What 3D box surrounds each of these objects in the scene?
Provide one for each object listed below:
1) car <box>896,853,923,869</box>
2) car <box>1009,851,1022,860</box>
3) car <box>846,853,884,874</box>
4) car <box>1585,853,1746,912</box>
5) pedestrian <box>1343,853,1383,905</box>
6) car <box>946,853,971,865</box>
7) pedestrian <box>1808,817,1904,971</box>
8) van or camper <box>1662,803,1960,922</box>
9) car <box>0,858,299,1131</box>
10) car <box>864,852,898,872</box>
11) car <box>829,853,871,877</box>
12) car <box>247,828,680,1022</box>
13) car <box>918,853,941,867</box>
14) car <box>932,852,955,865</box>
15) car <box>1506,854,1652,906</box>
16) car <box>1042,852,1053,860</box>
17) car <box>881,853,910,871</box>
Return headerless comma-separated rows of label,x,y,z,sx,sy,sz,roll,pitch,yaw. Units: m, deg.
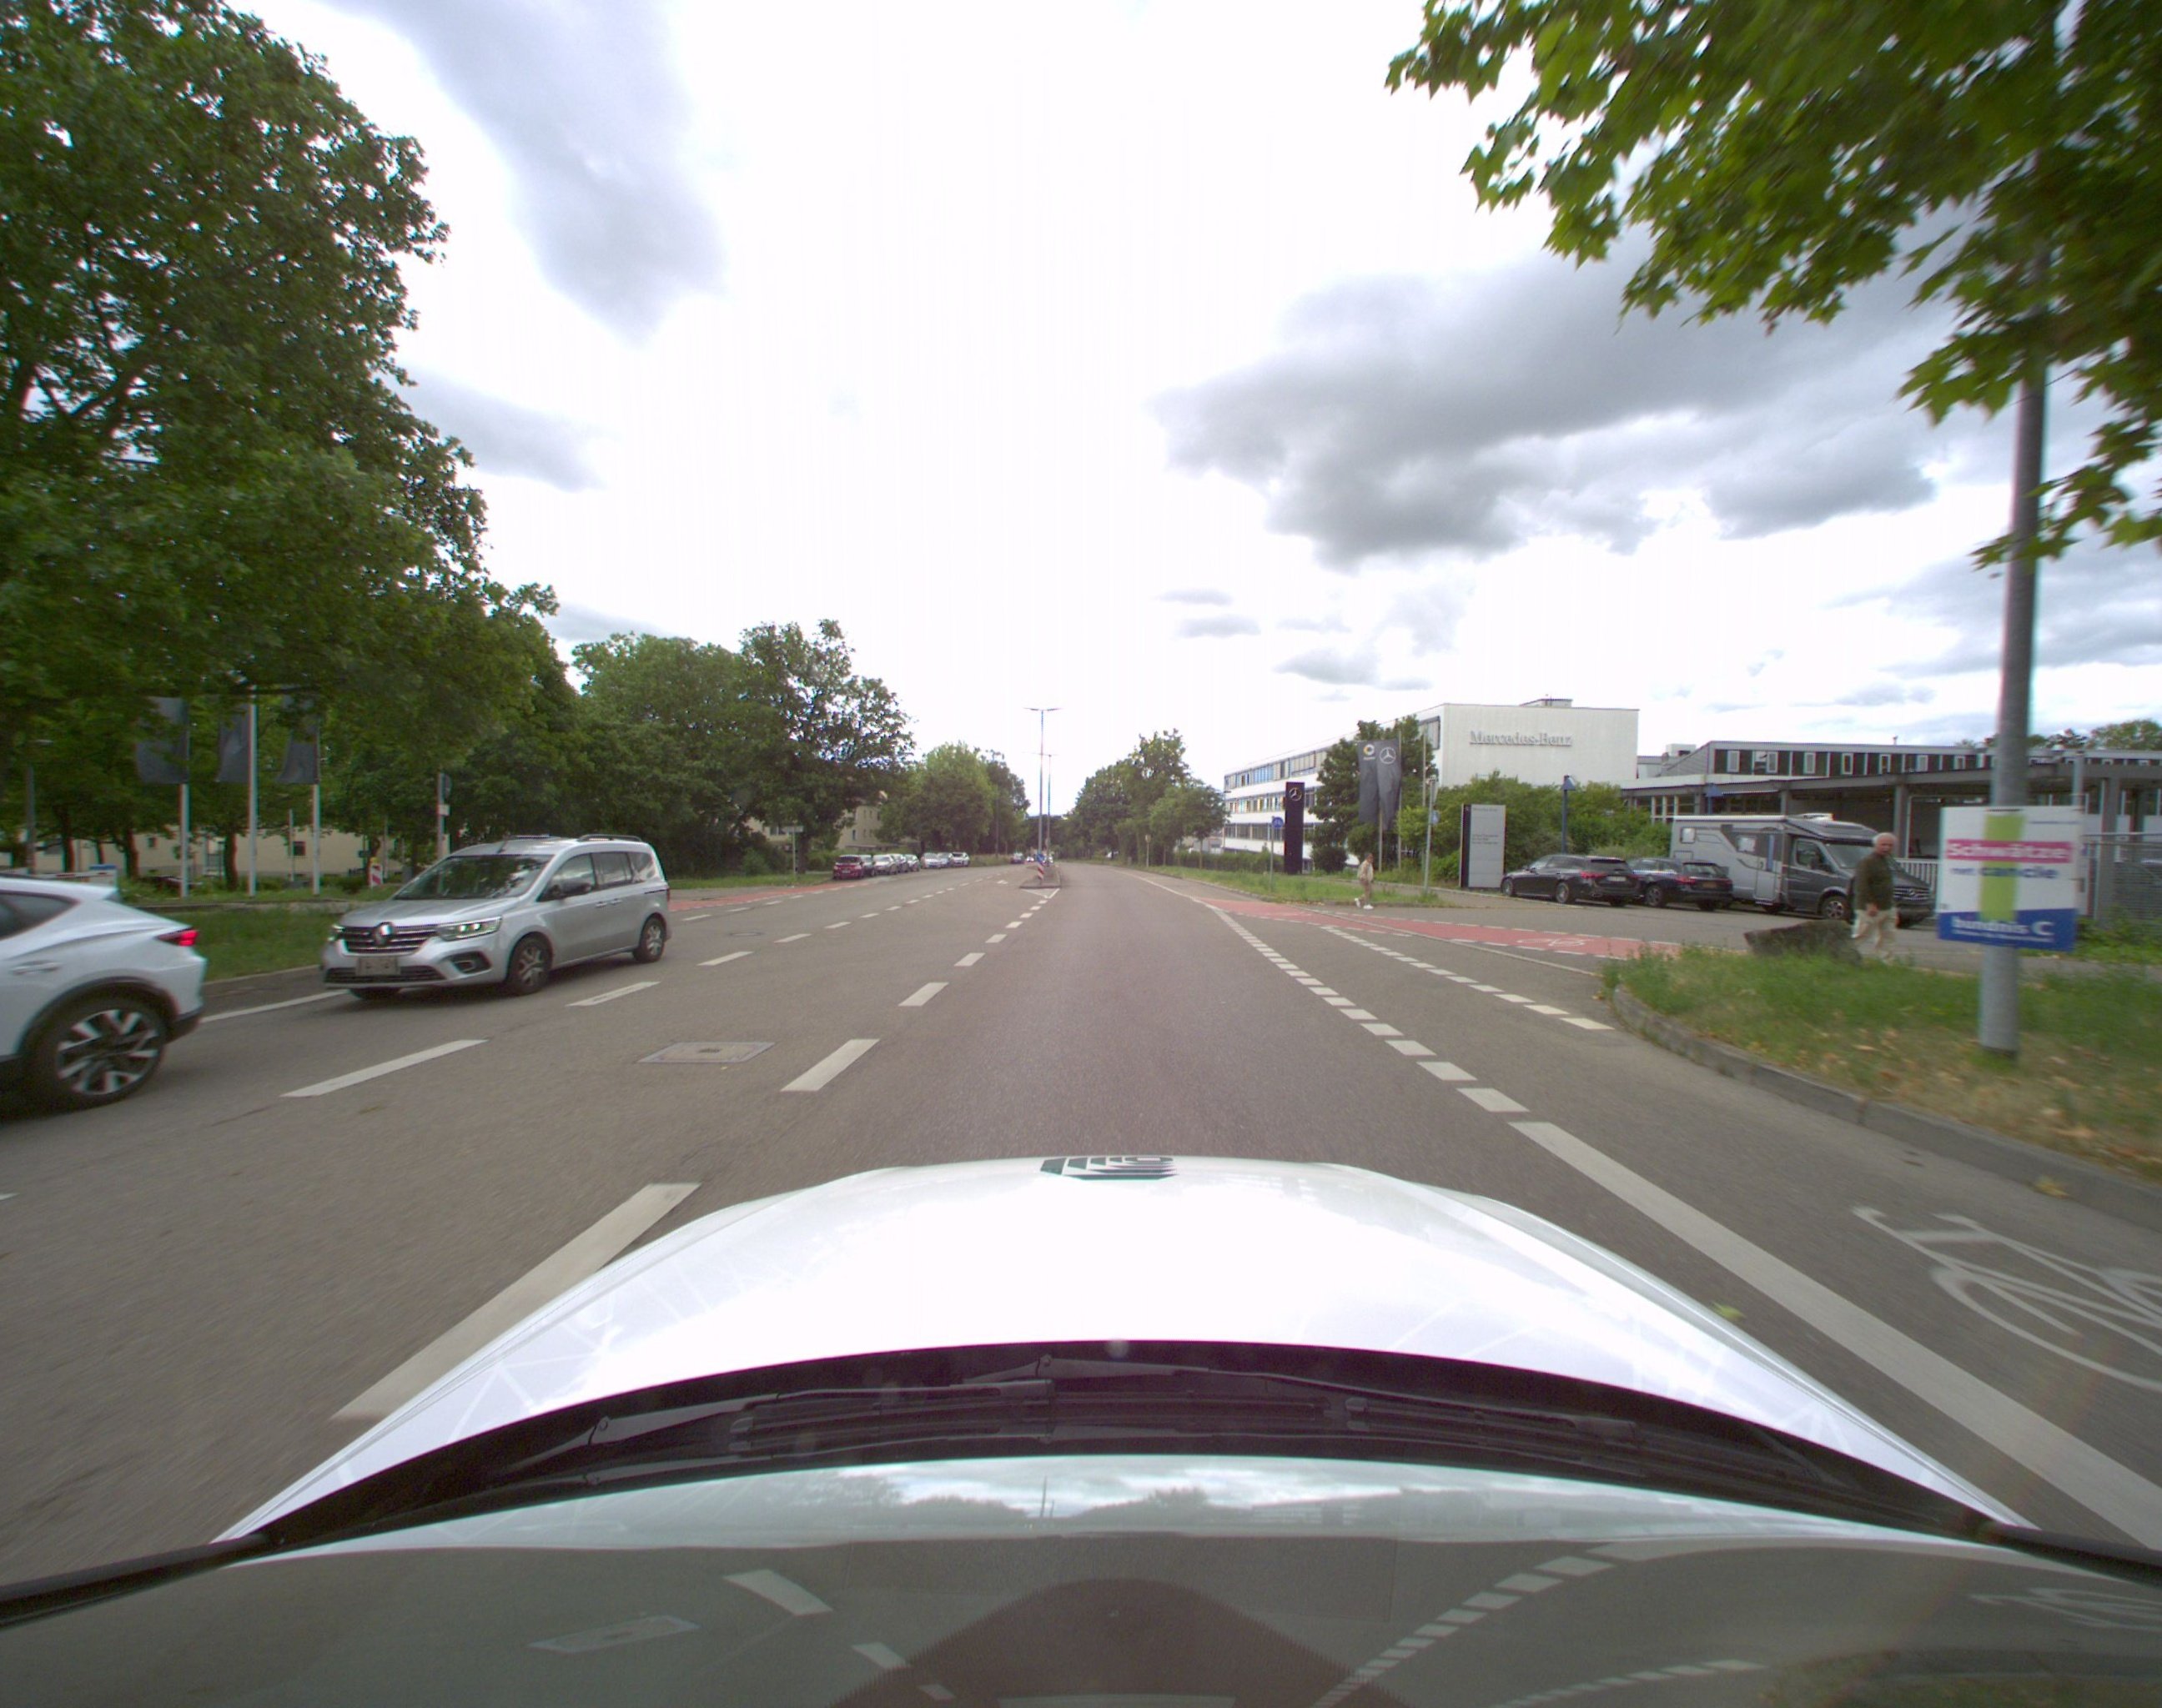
car,-15.053,0.596,71.566,1.669,1.403,3.995,1,0,-3
car,-10.447,0.206,130.056,1.766,1.304,3.999,1,0,0
car,-14.693,0.624,55.600,1.669,1.403,3.995,1,0,-3
car,17.236,0.765,24.324,1.705,1.508,4.345,2,0,1
pedestrian,8.046,0.700,23.234,0.791,1.463,0.744,0,0,-19
car,-13.608,0.520,90.684,1.664,1.304,4.007,1,0,6
pedestrian,9.587,0.463,10.105,0.739,1.801,0.867,0,0,35
van or camper,20.068,0.190,23.077,1.961,2.868,6.910,0,0,-4
car,-7.022,0.830,3.942,1.841,1.520,4.813,-2,0,-1
car,-14.738,0.541,60.175,1.669,1.403,3.996,1,0,-3
car,-14.427,0.652,50.988,1.669,1.403,3.995,1,0,-3
car,-7.038,0.661,10.106,1.841,1.803,4.648,-2,0,-1
car,-15.036,0.548,80.716,1.678,1.304,3.974,1,0,-19
car,-14.440,0.454,85.695,1.666,1.304,4.002,1,0,2
car,14.476,0.698,23.981,1.705,1.354,4.345,0,0,1
car,-5.675,0.246,137.550,1.607,1.304,3.999,1,0,0
car,-15.029,0.625,66.208,1.669,1.403,3.995,1,0,-3
